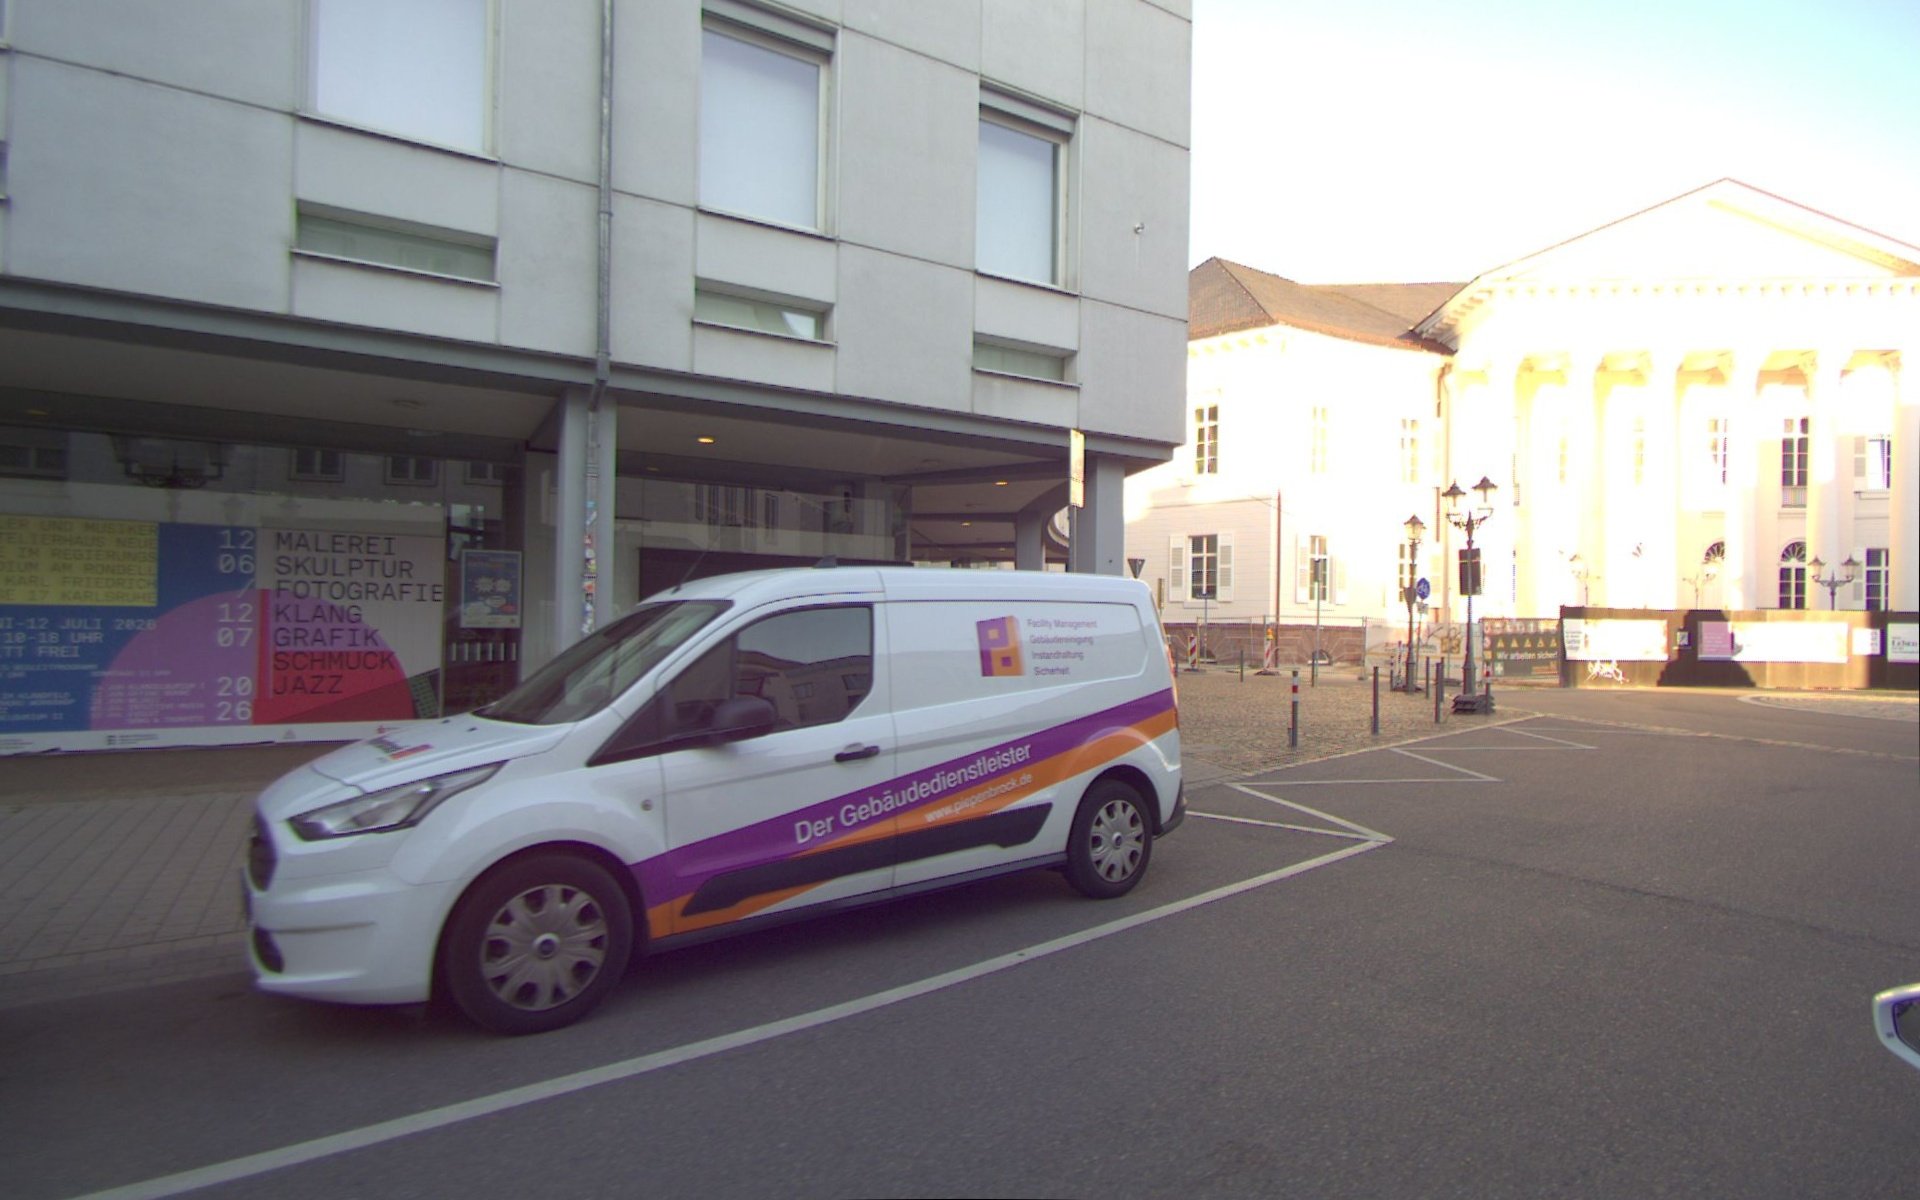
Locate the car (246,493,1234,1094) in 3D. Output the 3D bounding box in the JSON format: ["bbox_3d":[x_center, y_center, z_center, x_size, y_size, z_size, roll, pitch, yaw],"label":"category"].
[{"bbox_3d":[-0.837,0.649,5.335,4.741,1.840,1.978,2,-1,-38],"label":"car"}]

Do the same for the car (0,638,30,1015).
[{"bbox_3d":[-4.906,0.783,2.108,4.062,1.371,1.668,2,-1,-33],"label":"car"}]
